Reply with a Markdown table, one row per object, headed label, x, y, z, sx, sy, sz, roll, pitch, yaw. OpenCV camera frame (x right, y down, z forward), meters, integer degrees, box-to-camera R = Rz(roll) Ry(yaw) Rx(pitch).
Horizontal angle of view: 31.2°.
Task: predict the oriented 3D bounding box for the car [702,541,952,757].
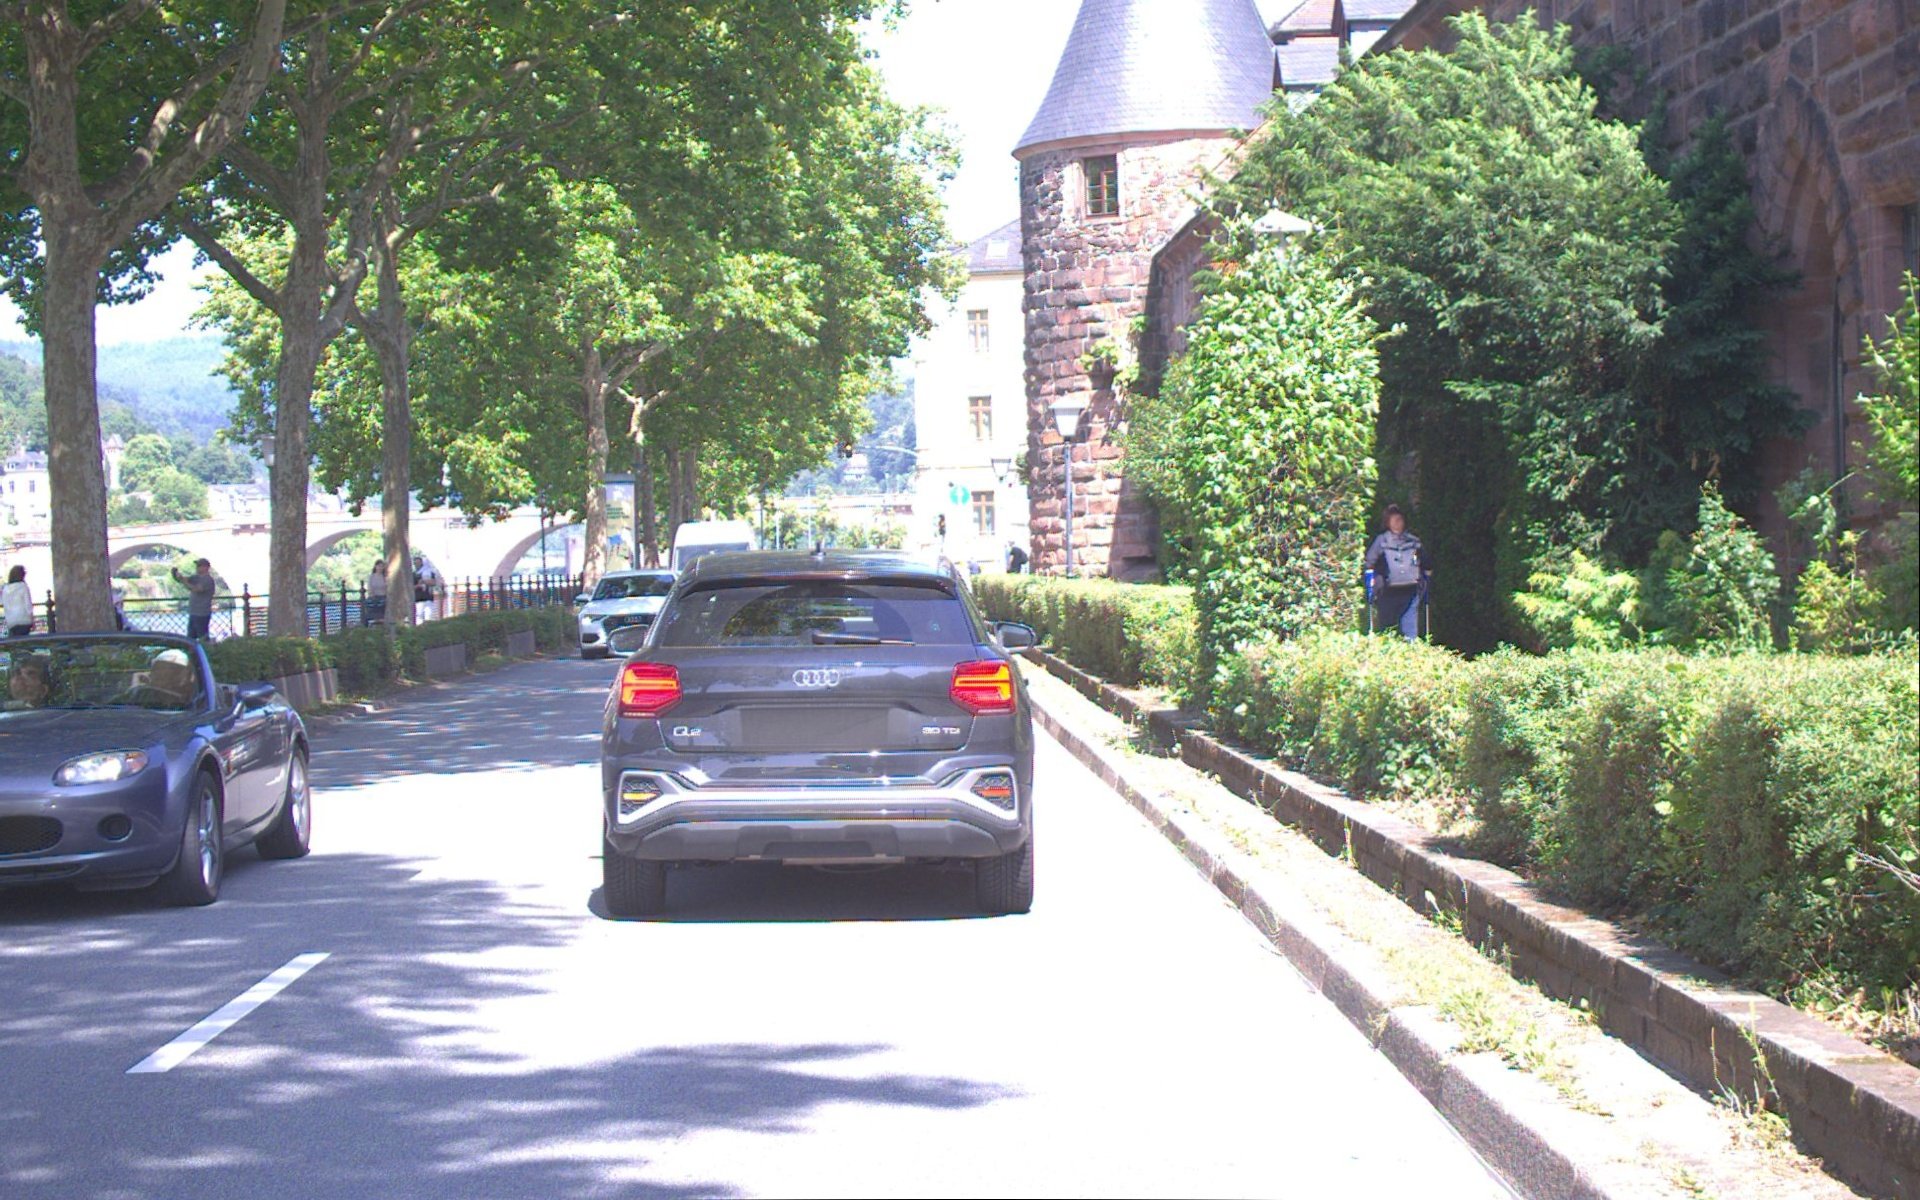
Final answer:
| label | x | y | z | sx | sy | sz | roll | pitch | yaw |
| --- | --- | --- | --- | --- | --- | --- | --- | --- | --- |
| car | -1.006 | 0.344 | 27.763 | 1.801 | 1.557 | 3.716 | -2 | 1 | 0 |

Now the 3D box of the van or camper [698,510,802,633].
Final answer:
| label | x | y | z | sx | sy | sz | roll | pitch | yaw |
| --- | --- | --- | --- | --- | --- | --- | --- | --- | --- |
| van or camper | -4.696 | -0.636 | 77.663 | 1.960 | 2.558 | 5.841 | -3 | 1 | -1 |

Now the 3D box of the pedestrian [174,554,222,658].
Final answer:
| label | x | y | z | sx | sy | sz | roll | pitch | yaw |
| --- | --- | --- | --- | --- | --- | --- | --- | --- | --- |
| pedestrian | -12.001 | 0.095 | 54.136 | 0.644 | 1.613 | 0.459 | 1 | 0 | -3 |

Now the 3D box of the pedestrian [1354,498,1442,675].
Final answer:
| label | x | y | z | sx | sy | sz | roll | pitch | yaw |
| --- | --- | --- | --- | --- | --- | --- | --- | --- | --- |
| pedestrian | 4.183 | -0.134 | 32.865 | 0.698 | 1.647 | 0.705 | -2 | 1 | 1 |

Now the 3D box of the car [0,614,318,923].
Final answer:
| label | x | y | z | sx | sy | sz | roll | pitch | yaw |
| --- | --- | --- | --- | --- | --- | --- | --- | --- | --- |
| car | -4.138 | 0.727 | 16.011 | 1.698 | 1.207 | 3.486 | -2 | 1 | -2 |

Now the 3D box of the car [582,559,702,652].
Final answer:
| label | x | y | z | sx | sy | sz | roll | pitch | yaw |
| --- | --- | --- | --- | --- | --- | --- | --- | --- | --- |
| car | -5.395 | 0.075 | 58.768 | 1.769 | 1.452 | 4.534 | -2 | 1 | -2 |

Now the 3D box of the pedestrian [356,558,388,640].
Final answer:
| label | x | y | z | sx | sy | sz | roll | pitch | yaw |
| --- | --- | --- | --- | --- | --- | --- | --- | --- | --- |
| pedestrian | -11.219 | -0.021 | 65.628 | 0.457 | 1.549 | 0.586 | -2 | 1 | -1 |

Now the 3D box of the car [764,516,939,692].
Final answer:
| label | x | y | z | sx | sy | sz | roll | pitch | yaw |
| --- | --- | --- | --- | --- | --- | --- | --- | --- | --- |
| car | -1.339 | 0.015 | 42.935 | 1.993 | 2.007 | 4.000 | -2 | 1 | -1 |

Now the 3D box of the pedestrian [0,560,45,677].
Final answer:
| label | x | y | z | sx | sy | sz | roll | pitch | yaw |
| --- | --- | --- | --- | --- | --- | --- | --- | --- | --- |
| pedestrian | -13.855 | 0.273 | 50.719 | 0.584 | 1.705 | 0.403 | 1 | 0 | -3 |

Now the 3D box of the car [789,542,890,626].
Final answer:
| label | x | y | z | sx | sy | sz | roll | pitch | yaw |
| --- | --- | --- | --- | --- | --- | --- | --- | --- | --- |
| car | -2.263 | -0.311 | 64.234 | 1.769 | 1.452 | 4.534 | -2 | 1 | -2 |

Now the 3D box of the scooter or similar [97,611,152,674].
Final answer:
| label | x | y | z | sx | sy | sz | roll | pitch | yaw |
| --- | --- | --- | --- | --- | --- | --- | --- | --- | --- |
| scooter or similar | -13.248 | 0.665 | 54.507 | 0.631 | 0.965 | 1.012 | -1 | 0 | -2 |

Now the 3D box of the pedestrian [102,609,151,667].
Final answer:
| label | x | y | z | sx | sy | sz | roll | pitch | yaw |
| --- | --- | --- | --- | --- | --- | --- | --- | --- | --- |
| pedestrian | -13.252 | 0.602 | 54.648 | 0.607 | 0.881 | 0.705 | -1 | 1 | -2 |

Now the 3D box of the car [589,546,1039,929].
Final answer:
| label | x | y | z | sx | sy | sz | roll | pitch | yaw |
| --- | --- | --- | --- | --- | --- | --- | --- | --- | --- |
| car | -0.645 | 0.516 | 15.245 | 1.748 | 1.489 | 3.629 | 0 | 1 | -2 |
